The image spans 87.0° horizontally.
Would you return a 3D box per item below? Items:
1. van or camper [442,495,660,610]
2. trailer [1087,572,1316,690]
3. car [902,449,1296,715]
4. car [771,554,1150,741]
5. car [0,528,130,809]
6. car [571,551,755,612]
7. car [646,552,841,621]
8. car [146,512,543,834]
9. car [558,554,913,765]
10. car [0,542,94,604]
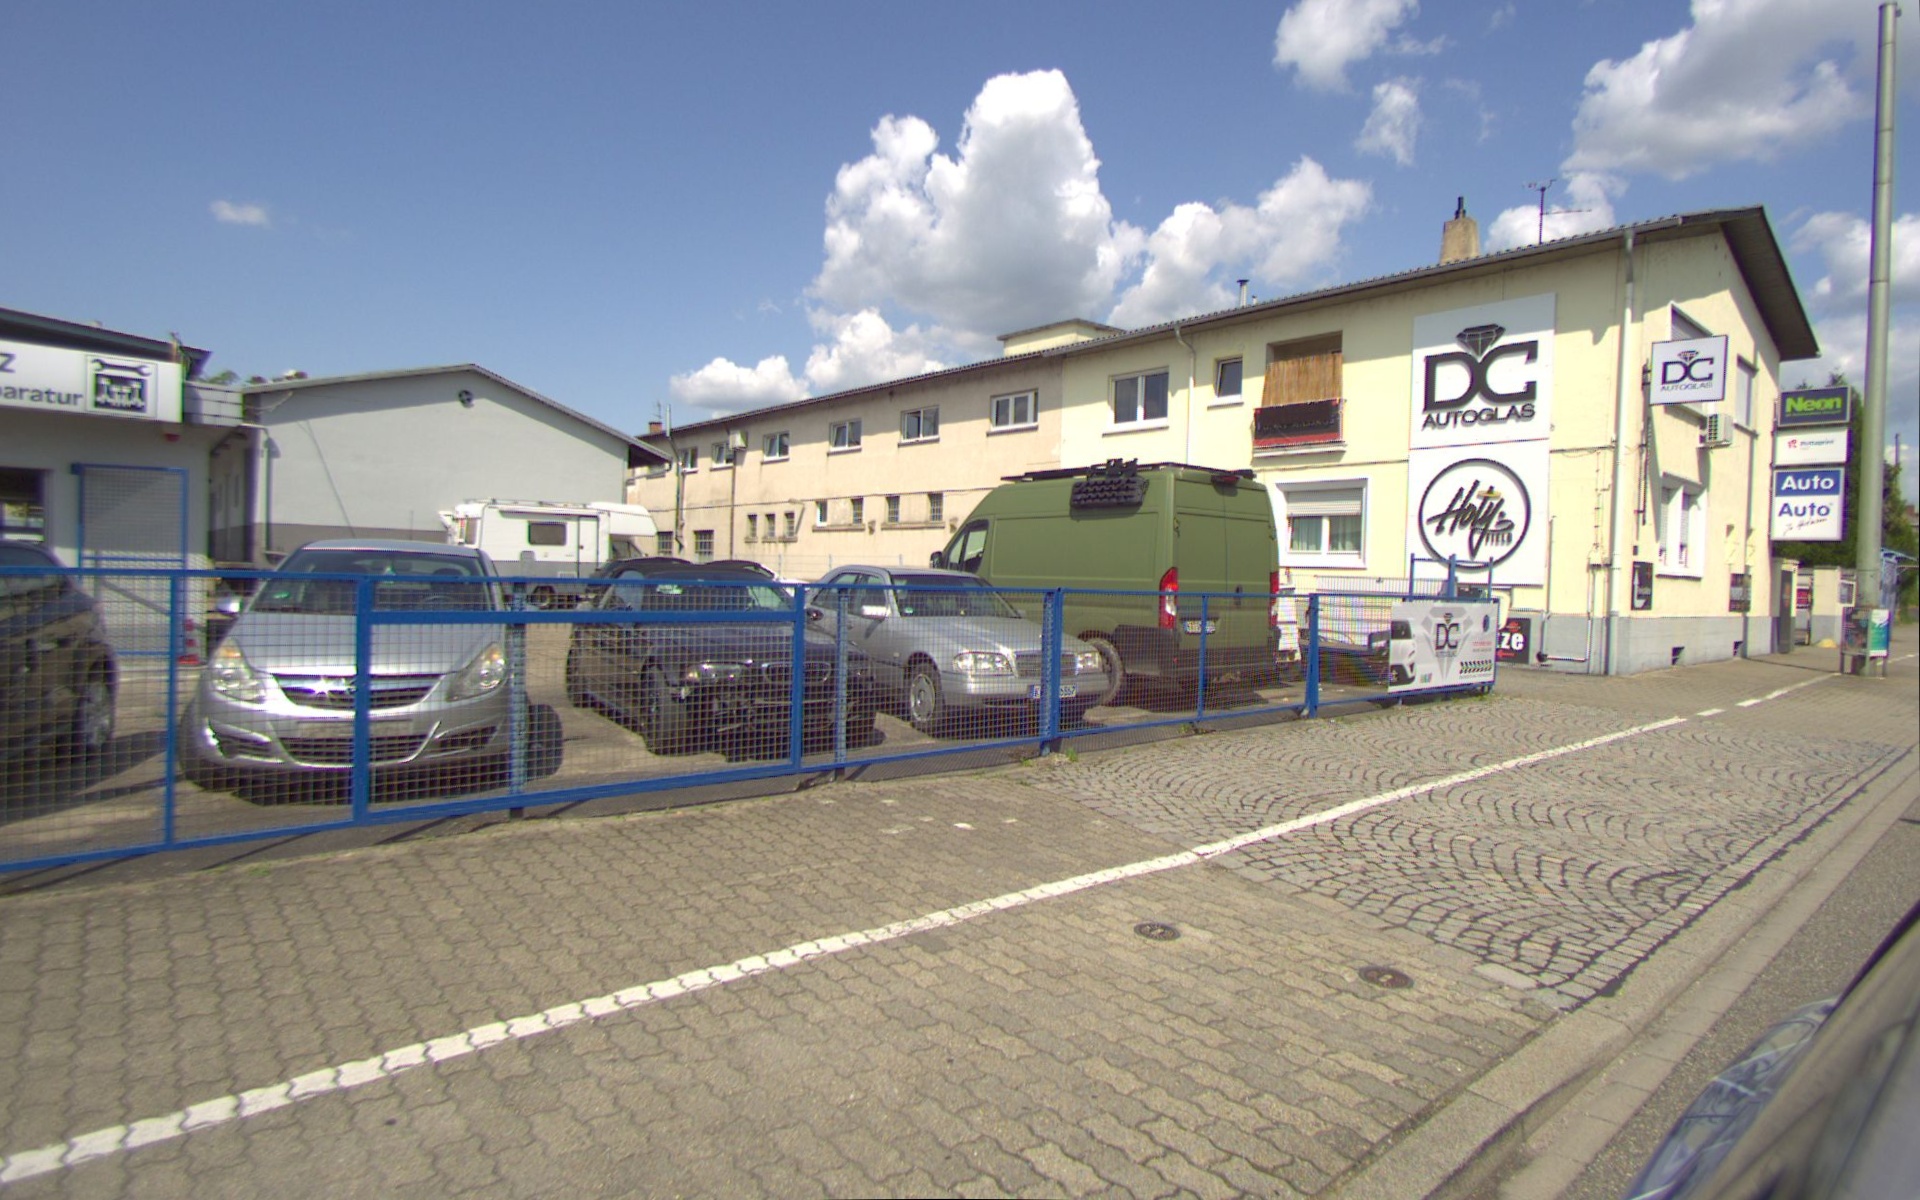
[{"bbox_3d":[-10.994,-1.249,27.419,4.978,2.807,2.311,-1,3,-44],"label":"van or camper"},{"bbox_3d":[3.201,0.348,13.718,1.280,1.349,2.789,0,3,-40],"label":"trailer"},{"bbox_3d":[1.478,-0.273,12.385,2.112,2.605,4.549,0,2,-38],"label":"car"},{"bbox_3d":[-0.234,0.294,10.171,1.785,1.449,4.200,0,2,-33],"label":"car"},{"bbox_3d":[-5.669,0.358,4.744,1.675,1.460,4.009,1,2,-23],"label":"car"},{"bbox_3d":[-7.557,-0.488,25.938,4.110,1.405,1.925,-1,3,-42],"label":"car"},{"bbox_3d":[-4.974,-0.344,23.525,4.110,1.433,1.756,-1,3,-42],"label":"car"},{"bbox_3d":[-3.887,0.266,6.933,1.714,1.515,4.008,0,2,-25],"label":"car"},{"bbox_3d":[-2.176,0.319,8.831,1.784,1.372,4.004,0,2,-32],"label":"car"},{"bbox_3d":[-22.852,-0.658,23.512,4.110,1.405,1.925,-1,3,-42],"label":"car"}]
